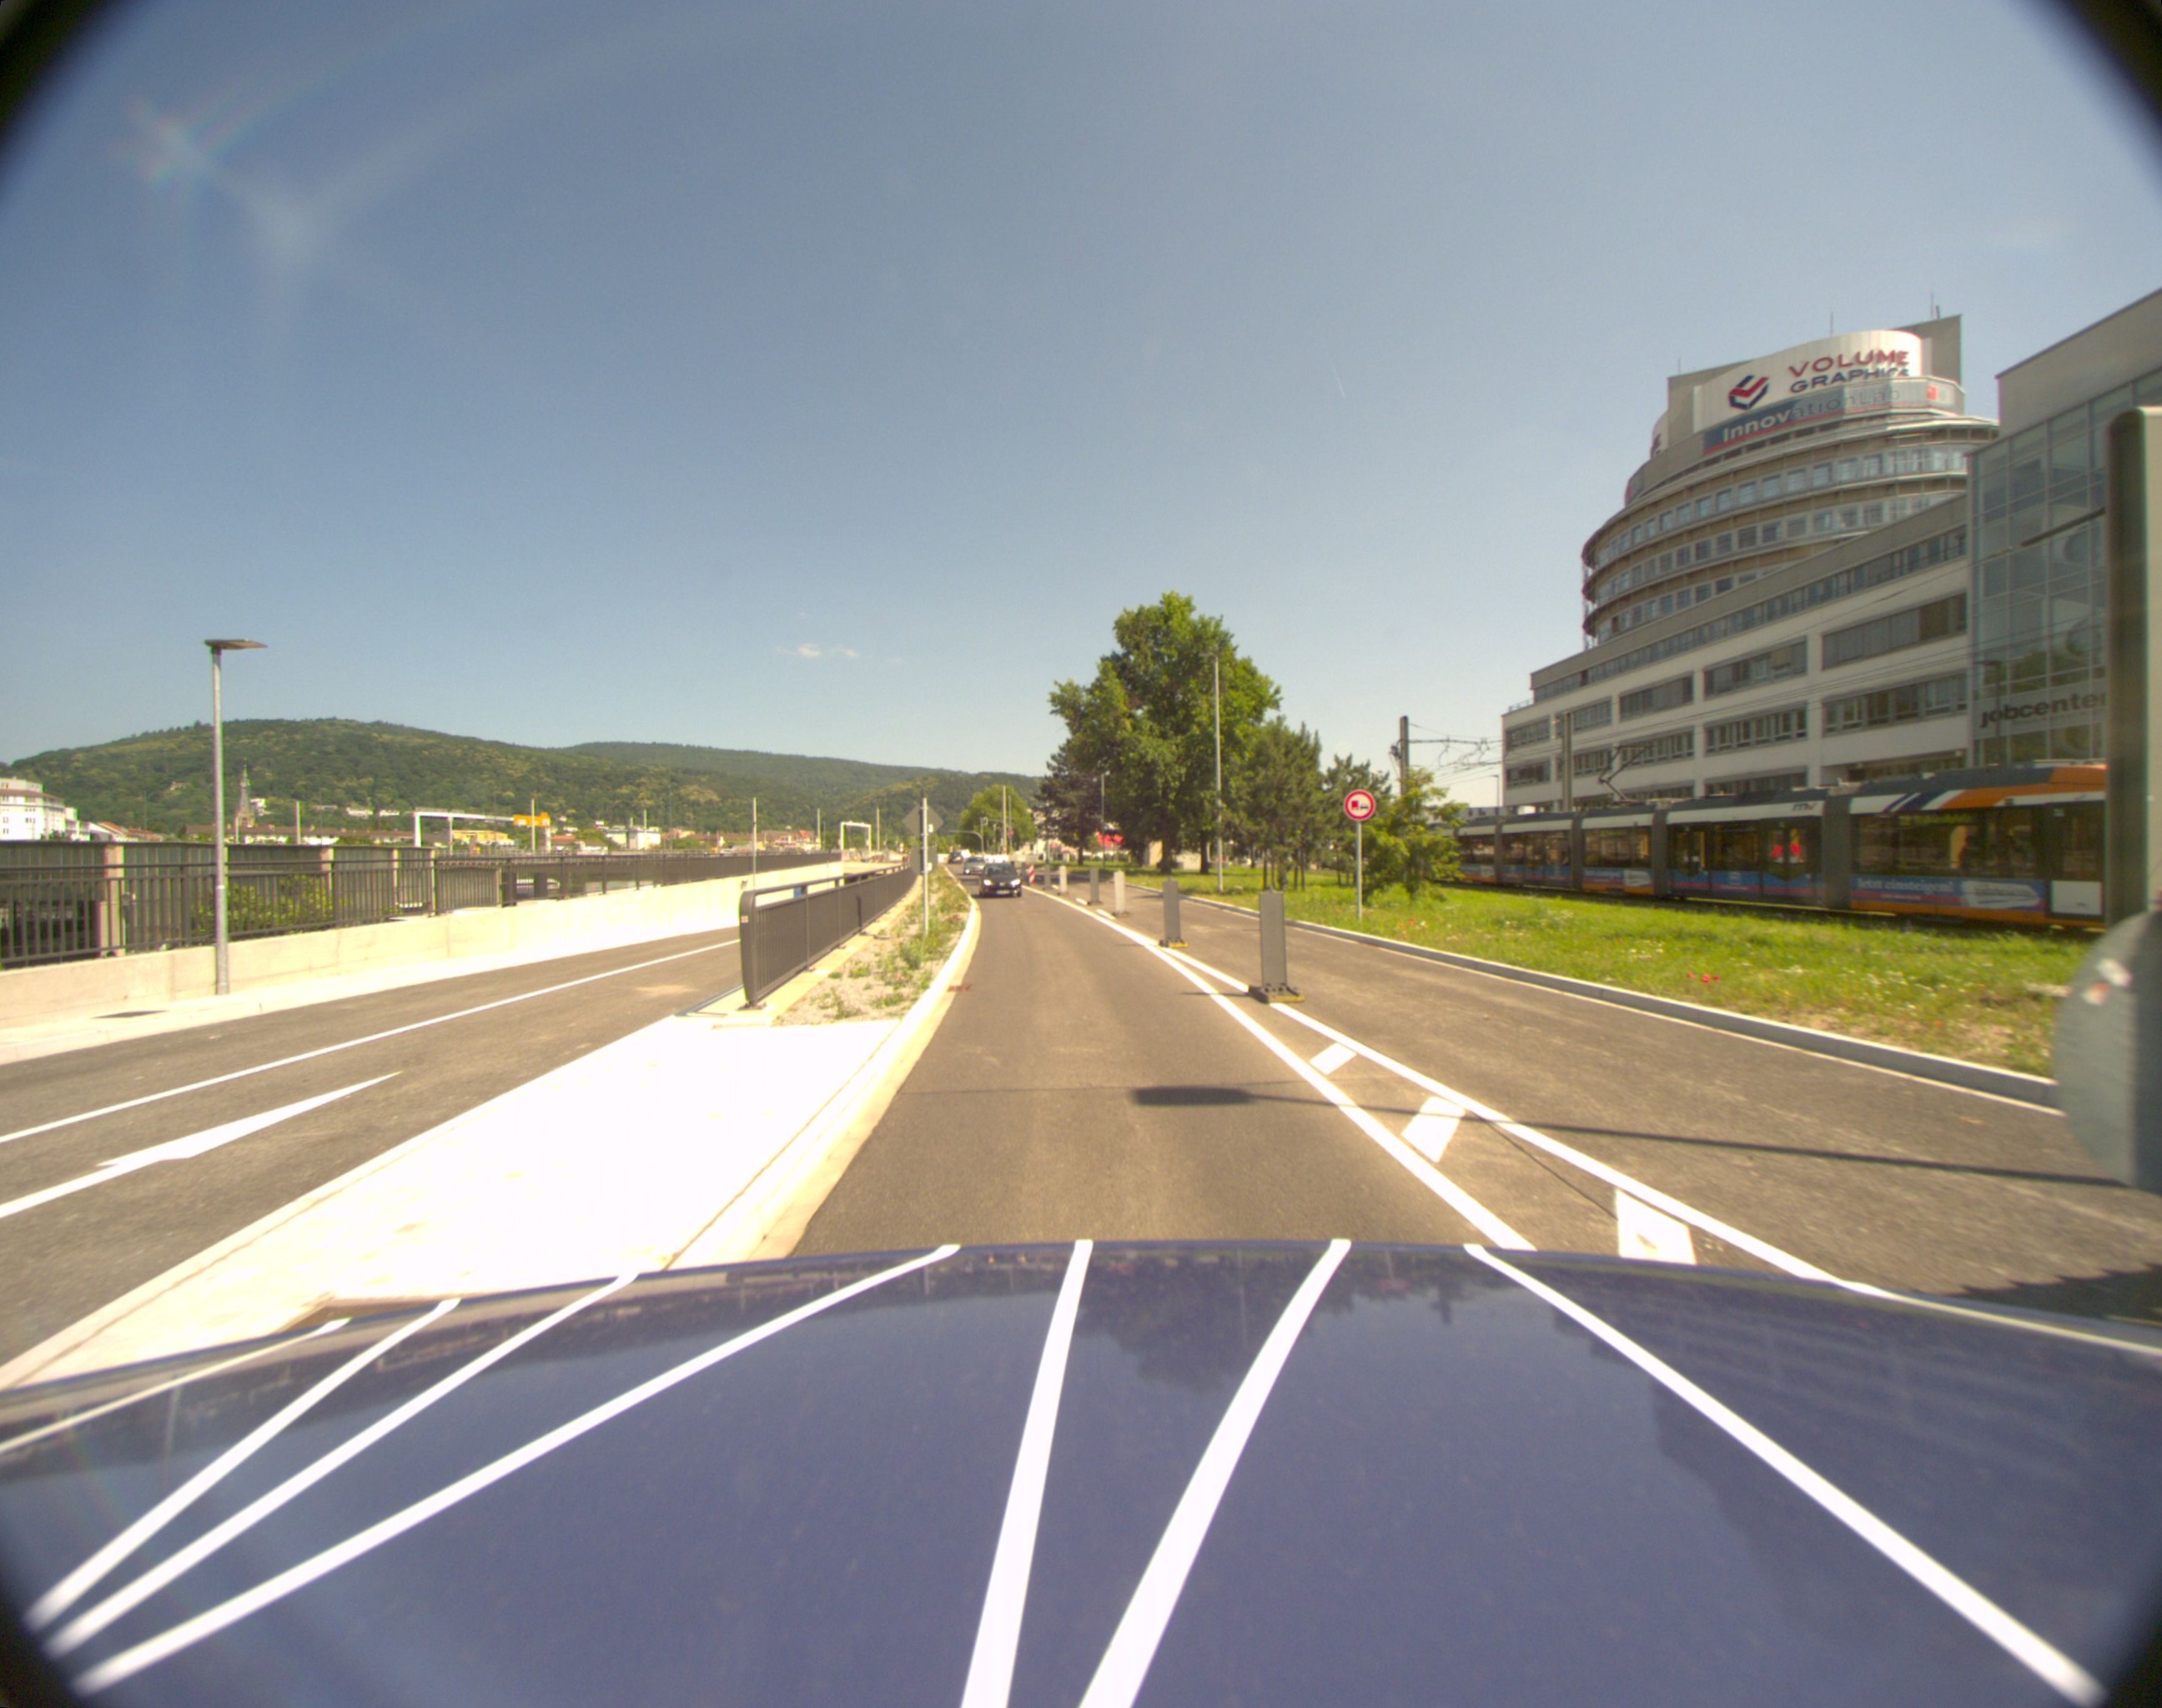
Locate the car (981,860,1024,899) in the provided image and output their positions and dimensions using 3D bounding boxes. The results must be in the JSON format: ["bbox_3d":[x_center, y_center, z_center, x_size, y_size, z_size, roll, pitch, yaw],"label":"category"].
[{"bbox_3d":[-3.358,1.035,32.082,1.620,1.433,3.703,-1,1,-9],"label":"car"}]

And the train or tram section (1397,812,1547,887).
[{"bbox_3d":[20.956,-0.240,41.894,2.631,3.430,11.782,-2,0,3],"label":"train or tram section"}]

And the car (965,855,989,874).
[{"bbox_3d":[-8.321,0.795,60.505,1.620,1.433,3.764,-1,1,-11],"label":"car"}]

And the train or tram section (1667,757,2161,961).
[{"bbox_3d":[19.801,-0.006,18.322,2.631,3.430,11.782,-2,0,3],"label":"train or tram section"}]

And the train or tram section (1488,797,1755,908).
[{"bbox_3d":[20.386,-0.085,30.123,2.631,3.430,11.782,-2,0,3],"label":"train or tram section"}]

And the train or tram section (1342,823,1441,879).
[{"bbox_3d":[21.534,-0.232,53.694,2.631,3.430,11.782,-2,0,3],"label":"train or tram section"}]

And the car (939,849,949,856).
[{"bbox_3d":[-26.452,-0.314,146.470,1.620,1.433,3.763,-1,1,-14],"label":"car"}]

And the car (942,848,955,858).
[{"bbox_3d":[-19.569,-0.112,111.903,1.620,1.433,3.763,-1,1,-14],"label":"car"}]

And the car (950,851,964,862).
[{"bbox_3d":[-16.433,0.329,100.683,1.620,1.433,3.763,-1,1,-13],"label":"car"}]

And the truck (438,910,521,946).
[{"bbox_3d":[-62.599,7.657,79.353,1.999,2.742,8.392,-2,1,0],"label":"truck"}]
